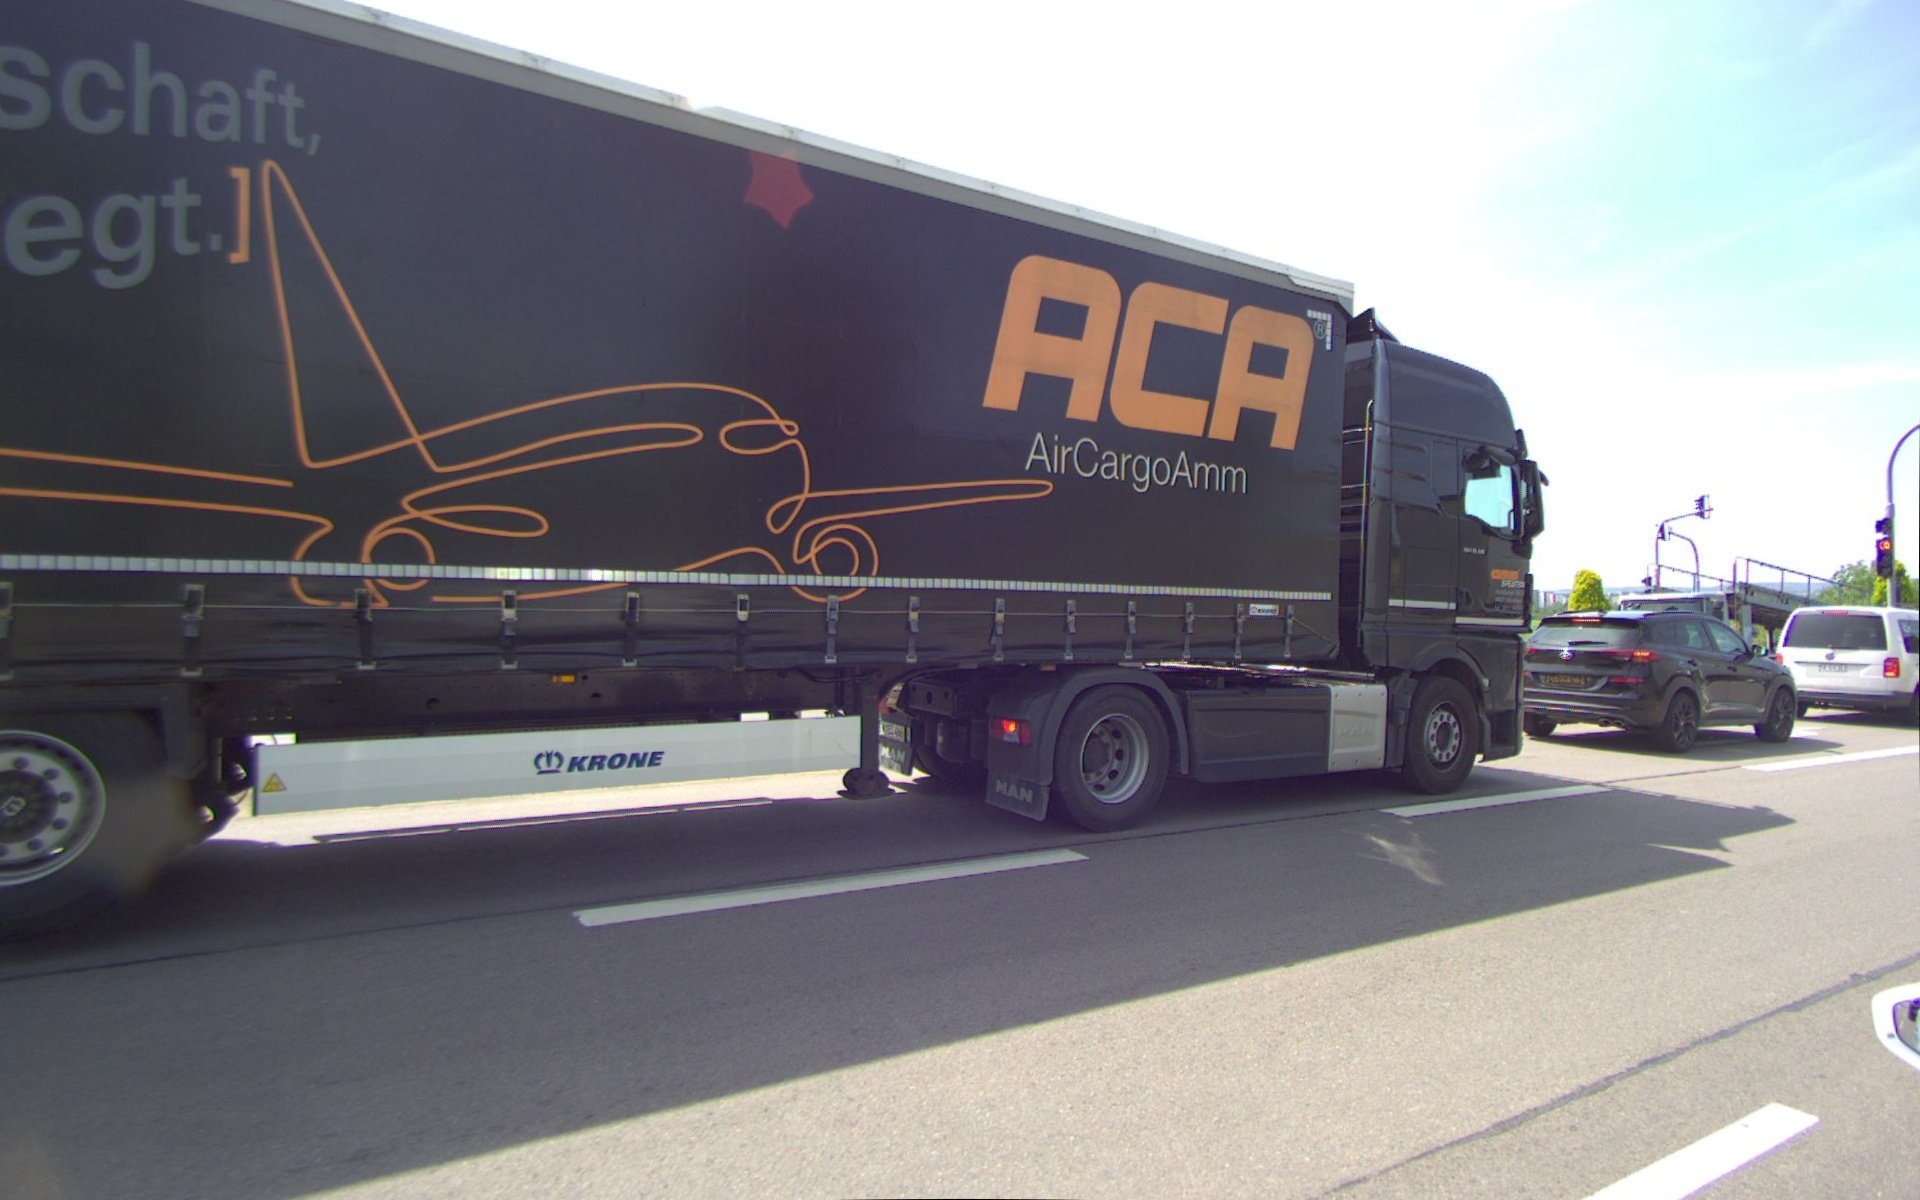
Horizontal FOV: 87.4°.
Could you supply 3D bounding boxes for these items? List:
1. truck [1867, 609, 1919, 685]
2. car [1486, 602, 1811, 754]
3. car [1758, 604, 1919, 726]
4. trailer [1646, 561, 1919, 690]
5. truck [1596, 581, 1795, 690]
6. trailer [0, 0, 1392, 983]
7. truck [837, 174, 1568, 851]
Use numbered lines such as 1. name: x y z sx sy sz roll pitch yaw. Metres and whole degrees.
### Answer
1. truck: 29.619 1.434 30.333 4.568 2.185 1.958 2 -2 -29
2. car: 9.014 0.920 13.081 4.297 1.679 1.847 2 0 -30
3. car: 15.737 1.039 17.137 4.697 1.822 1.759 2 0 -31
4. trailer: 31.098 1.108 35.638 19.555 3.813 2.628 2 -2 -29
5. truck: 22.745 1.125 31.041 5.917 3.053 2.787 2 -2 -29
6. trailer: -3.233 -0.559 5.442 13.628 3.965 2.769 2 0 -31
7. truck: 2.236 -0.460 8.757 5.902 4.067 2.769 2 0 -31
